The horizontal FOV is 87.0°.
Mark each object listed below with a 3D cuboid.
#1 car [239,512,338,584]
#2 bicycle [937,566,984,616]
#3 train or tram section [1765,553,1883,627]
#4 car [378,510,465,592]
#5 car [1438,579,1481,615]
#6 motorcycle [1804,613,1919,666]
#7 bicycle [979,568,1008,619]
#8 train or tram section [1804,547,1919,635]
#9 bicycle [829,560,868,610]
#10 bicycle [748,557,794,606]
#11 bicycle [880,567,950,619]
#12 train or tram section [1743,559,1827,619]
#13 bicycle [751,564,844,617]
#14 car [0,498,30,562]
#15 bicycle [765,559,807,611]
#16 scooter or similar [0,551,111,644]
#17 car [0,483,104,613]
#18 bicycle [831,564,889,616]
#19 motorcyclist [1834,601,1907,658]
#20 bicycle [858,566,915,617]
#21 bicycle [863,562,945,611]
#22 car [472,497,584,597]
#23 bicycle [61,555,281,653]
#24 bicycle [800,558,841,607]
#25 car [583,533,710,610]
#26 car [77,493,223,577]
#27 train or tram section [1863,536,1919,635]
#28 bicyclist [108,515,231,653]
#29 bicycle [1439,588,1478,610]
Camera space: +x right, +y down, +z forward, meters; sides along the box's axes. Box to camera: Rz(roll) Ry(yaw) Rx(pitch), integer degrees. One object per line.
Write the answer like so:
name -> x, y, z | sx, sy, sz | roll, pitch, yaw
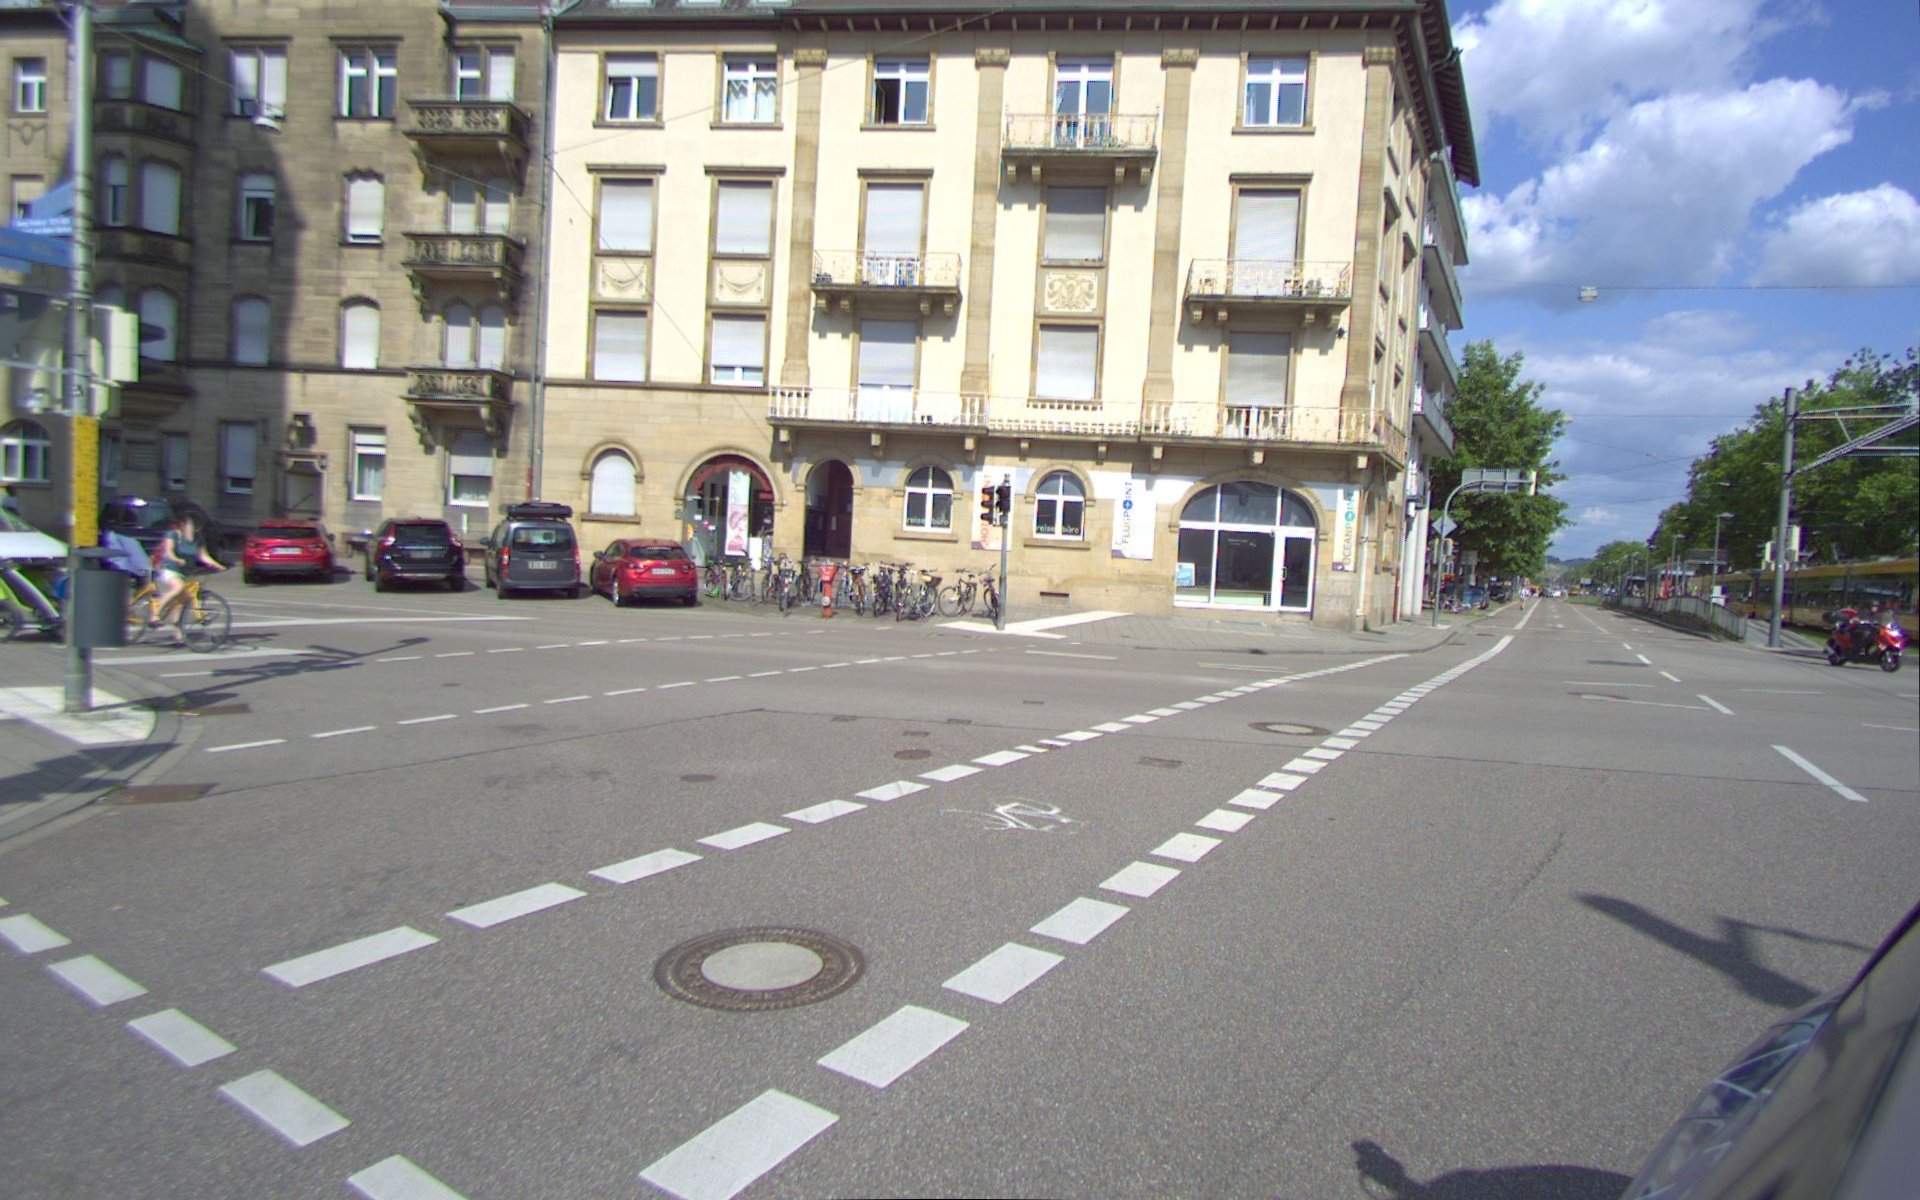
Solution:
car -> -16.403, -1.302, 24.671 | 1.880, 1.461, 4.004 | 0, 6, -35
bicycle -> 0.033, -0.242, 23.810 | 0.601, 1.030, 1.870 | 4, 5, 14
train or tram section -> 48.231, -0.638, 56.915 | 2.793, 3.604, 12.024 | 4, 3, 31
car -> -12.937, -1.219, 24.209 | 1.676, 1.687, 4.008 | 0, 6, -30
car -> 28.807, -0.227, 58.356 | 1.838, 1.810, 3.958 | 7, 4, 29
motorcycle -> 21.261, 0.907, 23.664 | 0.684, 0.989, 2.510 | 2, 3, -7
bicycle -> 0.791, -0.170, 23.652 | 0.599, 1.030, 1.877 | 3, 5, 3
train or tram section -> 42.357, -0.447, 46.971 | 2.792, 3.604, 11.064 | 4, 3, 30
bicycle -> -2.657, -0.383, 24.224 | 0.531, 1.030, 1.928 | 3, 5, 5
bicycle -> -4.481, -0.464, 24.096 | 0.531, 1.030, 1.928 | 3, 5, 5
bicycle -> -0.985, -0.185, 22.554 | 0.598, 1.030, 1.856 | 5, 5, 31
train or tram section -> 53.516, -0.746, 65.861 | 2.754, 3.525, 8.809 | 4, 3, 31
bicycle -> -3.470, -0.208, 21.588 | 1.888, 1.030, 0.542 | 2, 5, -10
car -> -25.377, -1.791, 25.737 | 1.676, 1.564, 4.008 | 0, 6, -30
bicycle -> -3.959, -0.373, 23.144 | 0.530, 1.030, 1.930 | 3, 5, 1
scooter or similar -> -10.818, -0.050, 11.783 | 1.110, 0.989, 0.890 | 3, 2, 2
car -> -15.249, -0.859, 14.545 | 4.582, 1.761, 1.813 | 3, 2, 6
bicycle -> -2.245, -0.245, 22.930 | 0.533, 1.030, 1.918 | 4, 5, 19
motorcyclist -> 21.271, 0.681, 23.654 | 0.684, 1.232, 0.979 | 2, 2, -7
bicycle -> -1.652, -0.220, 22.957 | 0.533, 1.030, 1.917 | 4, 5, 19
bicycle -> -1.359, -0.332, 24.603 | 1.898, 1.030, 0.539 | 4, 5, 10
car -> -10.310, -1.316, 23.983 | 1.929, 2.107, 4.008 | 0, 5, -30
bicycle -> -9.203, 0.029, 11.844 | 2.095, 1.001, 0.652 | 3, 2, 2
bicycle -> -3.333, -0.448, 24.271 | 0.531, 1.030, 1.928 | 3, 5, 5
car -> -7.315, -0.707, 23.367 | 1.929, 1.458, 4.008 | 0, 5, -30
car -> -19.841, -1.661, 24.993 | 1.877, 1.846, 4.012 | 1, 5, -24
train or tram section -> 36.803, -0.460, 37.311 | 2.782, 3.604, 11.257 | 4, 3, 30
bicyclist -> -9.229, -0.195, 11.837 | 0.905, 1.522, 0.652 | 3, 2, 2
bicycle -> 25.470, -0.078, 51.716 | 1.680, 0.998, 0.492 | 4, 3, 29
